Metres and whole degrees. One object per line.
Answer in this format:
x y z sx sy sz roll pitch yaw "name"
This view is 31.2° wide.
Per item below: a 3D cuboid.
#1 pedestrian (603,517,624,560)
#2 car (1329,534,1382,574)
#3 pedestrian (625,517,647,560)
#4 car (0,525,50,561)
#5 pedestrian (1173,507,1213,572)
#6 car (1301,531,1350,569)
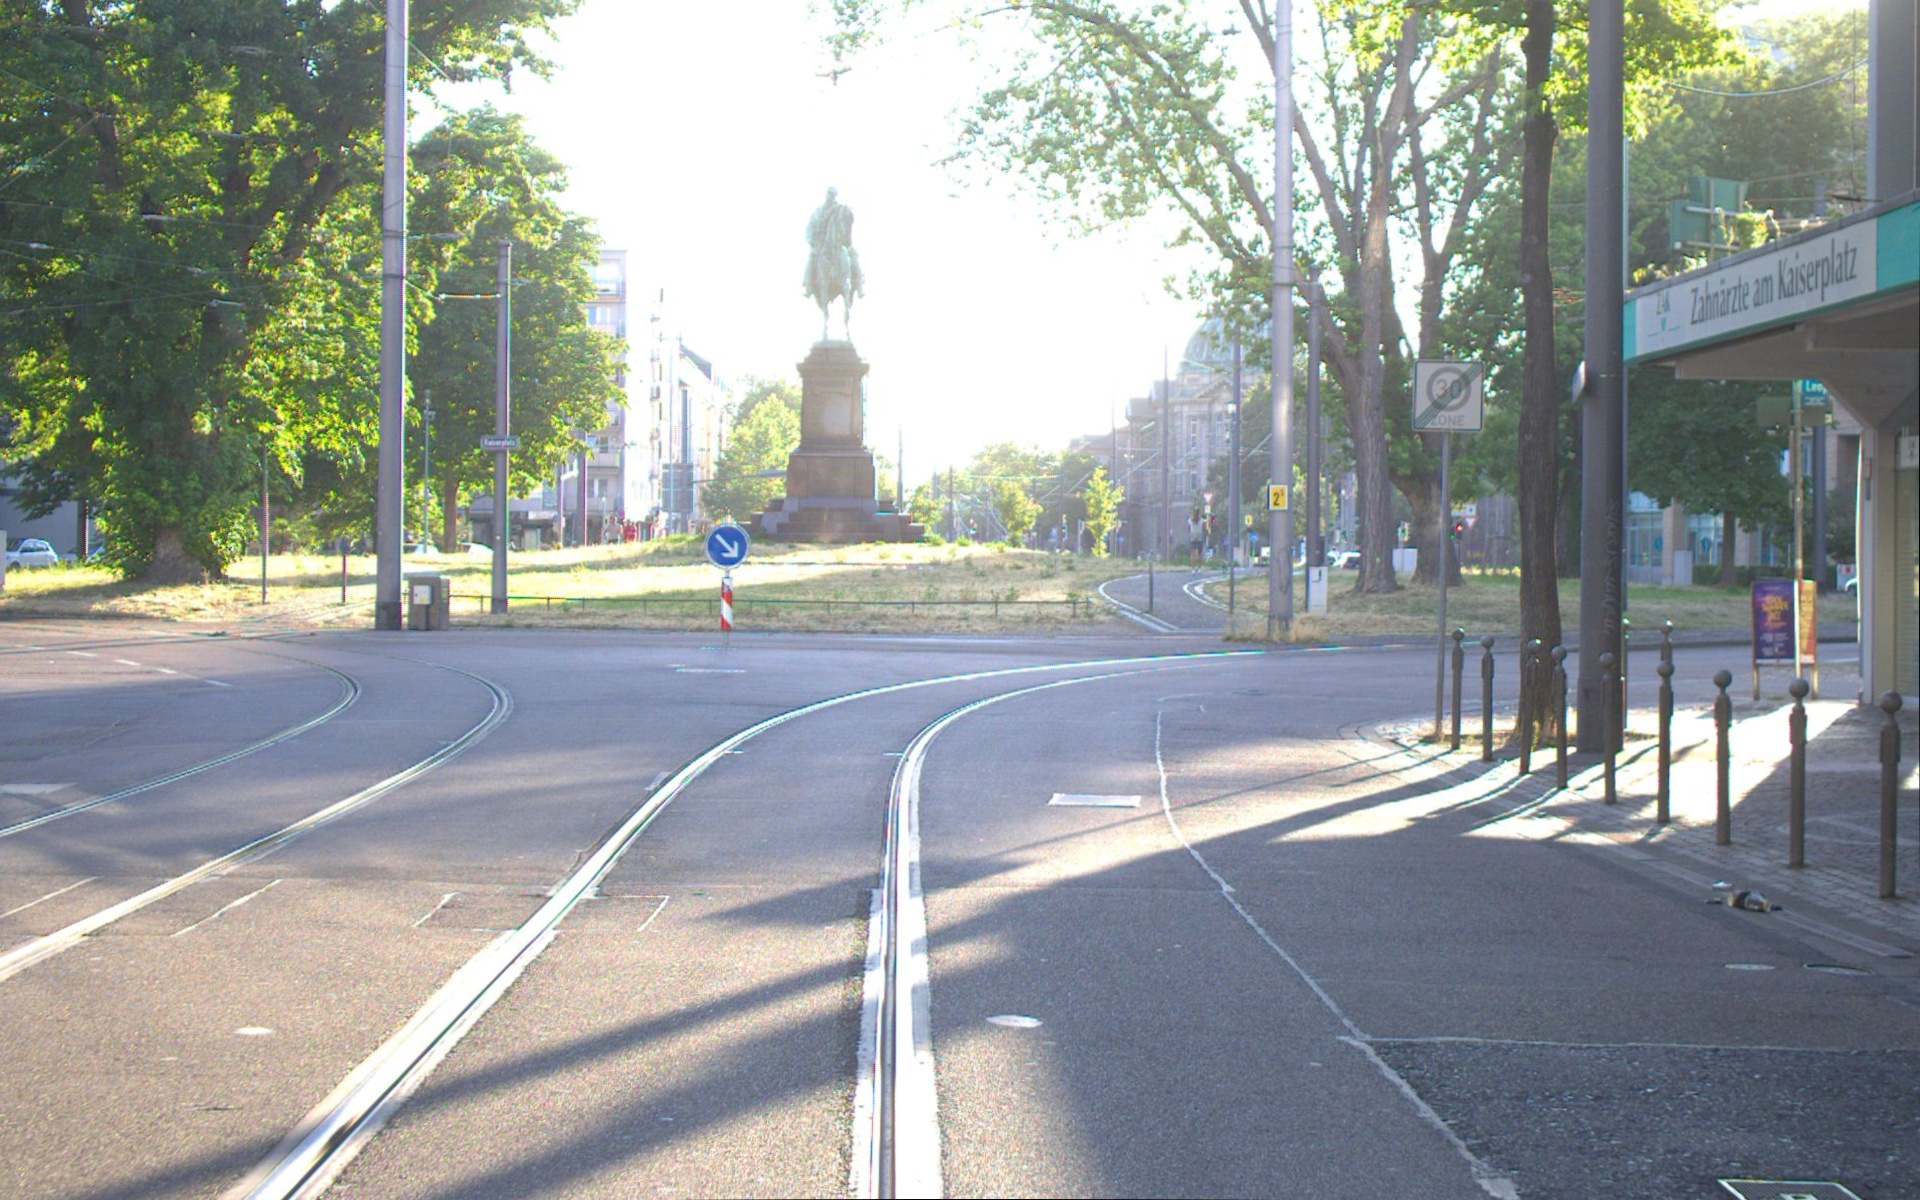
-12.959 -2.293 128.465 0.769 1.600 0.638 0 1 -7 "pedestrian"
20.184 -2.362 175.759 2.138 2.007 4.000 1 1 -1 "car"
-12.061 -2.278 127.997 0.769 1.600 0.638 0 1 -7 "pedestrian"
-37.343 -2.261 135.460 1.877 1.415 3.925 0 1 1 "car"
5.802 -1.503 85.517 0.769 1.600 0.638 -1 2 -43 "pedestrian"
19.761 -2.707 185.899 2.138 2.007 4.000 1 1 -1 "car"
